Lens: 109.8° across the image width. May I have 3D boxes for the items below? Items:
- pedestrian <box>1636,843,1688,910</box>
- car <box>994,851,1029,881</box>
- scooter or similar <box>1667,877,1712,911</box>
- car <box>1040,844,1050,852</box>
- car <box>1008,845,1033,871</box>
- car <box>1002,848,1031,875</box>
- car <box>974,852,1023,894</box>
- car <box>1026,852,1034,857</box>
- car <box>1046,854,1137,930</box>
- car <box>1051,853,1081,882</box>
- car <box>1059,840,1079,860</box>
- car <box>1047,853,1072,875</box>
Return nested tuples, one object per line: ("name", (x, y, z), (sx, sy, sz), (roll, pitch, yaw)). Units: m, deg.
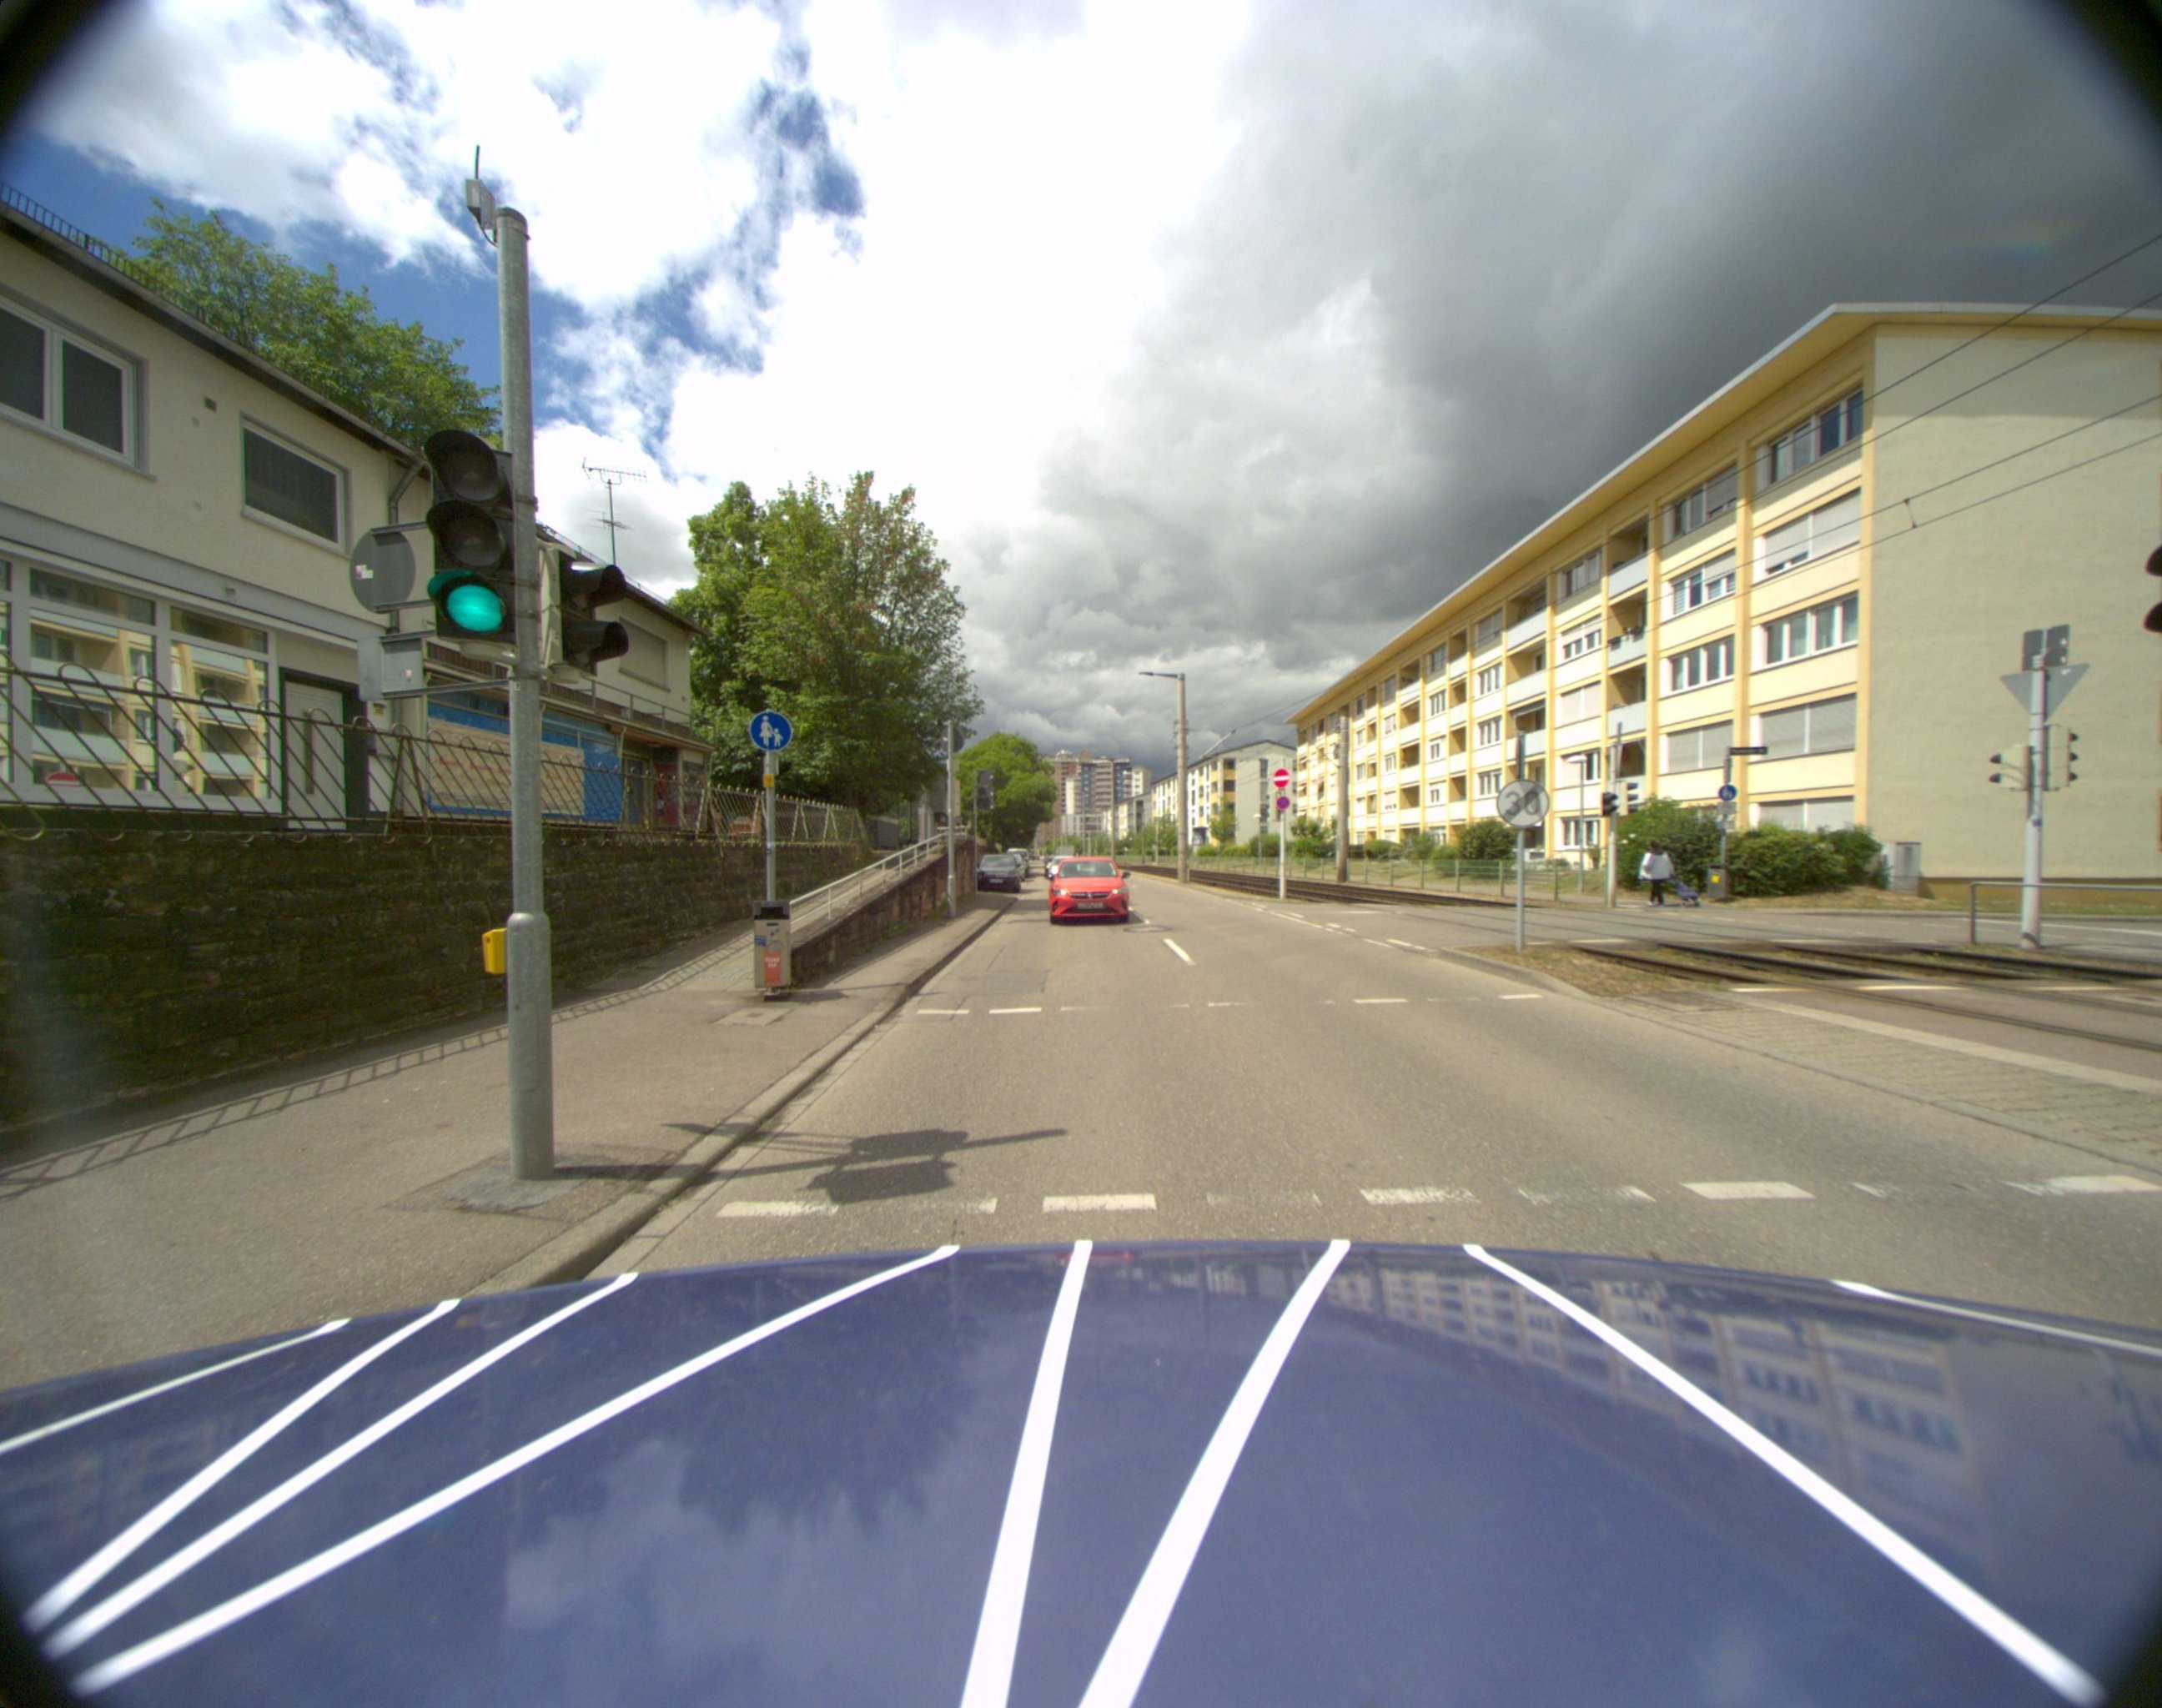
("pedestrian", (14.047, 0.530, 18.384), (0.605, 1.598, 0.773), (1, 1, -1))
("car", (-3.904, 0.643, 43.209), (1.760, 1.559, 4.173), (1, 0, -3))
("scooter or similar", (14.584, 0.945, 18.231), (0.534, 0.769, 0.666), (0, 1, -1))
("car", (-8.900, -1.480, 187.633), (2.237, 2.051, 4.360), (0, 1, -3))
("car", (-4.817, 0.274, 61.234), (1.854, 1.997, 4.967), (0, 1, -3))
("car", (-4.146, 0.468, 49.612), (1.760, 1.706, 3.998), (0, 1, -3))
("car", (-3.306, 0.726, 31.023), (1.760, 1.570, 4.020), (0, 1, -3))
("car", (-16.034, 0.101, 238.723), (2.441, 1.717, 5.481), (0, 1, -3))
("car", (0.126, 0.770, 17.637), (1.783, 1.434, 4.129), (-2, 1, -3))
("car", (-0.856, 0.703, 41.234), (1.499, 1.477, 3.519), (0, 1, -3))
("car", (-1.511, -0.475, 95.171), (2.237, 2.460, 5.084), (0, 1, -3))
("car", (-1.485, 0.639, 52.339), (1.639, 1.346, 3.999), (-2, 1, -2))
